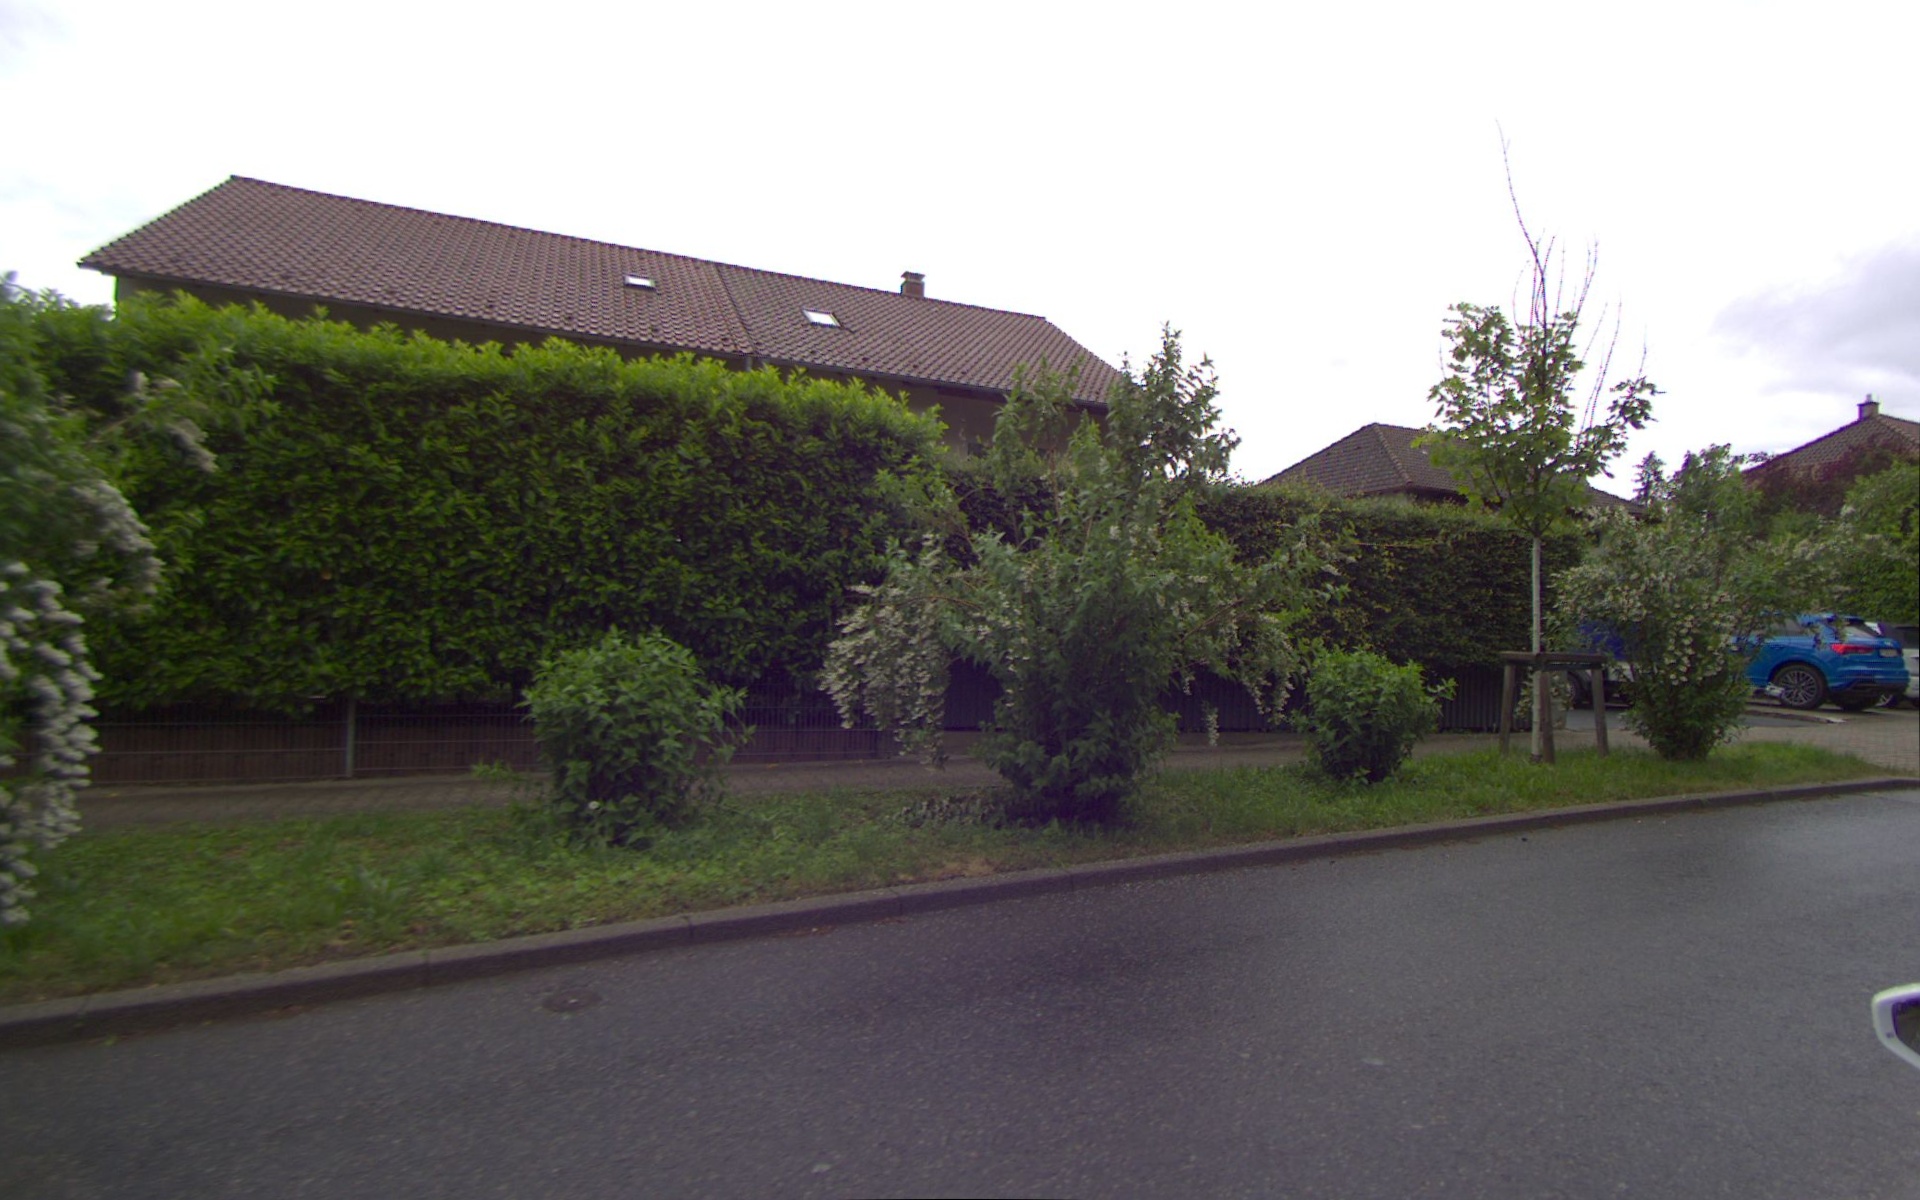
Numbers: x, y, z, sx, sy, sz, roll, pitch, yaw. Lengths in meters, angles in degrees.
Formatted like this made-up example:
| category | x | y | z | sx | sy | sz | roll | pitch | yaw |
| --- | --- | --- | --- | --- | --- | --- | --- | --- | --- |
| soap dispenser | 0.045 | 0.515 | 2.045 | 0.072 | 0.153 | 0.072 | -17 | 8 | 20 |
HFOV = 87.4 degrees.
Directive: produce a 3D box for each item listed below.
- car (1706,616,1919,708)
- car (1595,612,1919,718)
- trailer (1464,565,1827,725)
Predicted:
| category | x | y | z | sx | sy | sz | roll | pitch | yaw |
| --- | --- | --- | --- | --- | --- | --- | --- | --- | --- |
| car | 16.610 | 1.105 | 19.192 | 1.706 | 1.539 | 3.395 | 1 | 0 | -23 |
| car | 13.839 | 1.031 | 17.560 | 2.023 | 1.560 | 4.227 | 1 | -1 | -23 |
| trailer | 10.777 | 0.639 | 16.261 | 1.789 | 2.200 | 4.609 | 1 | 0 | -23 |
